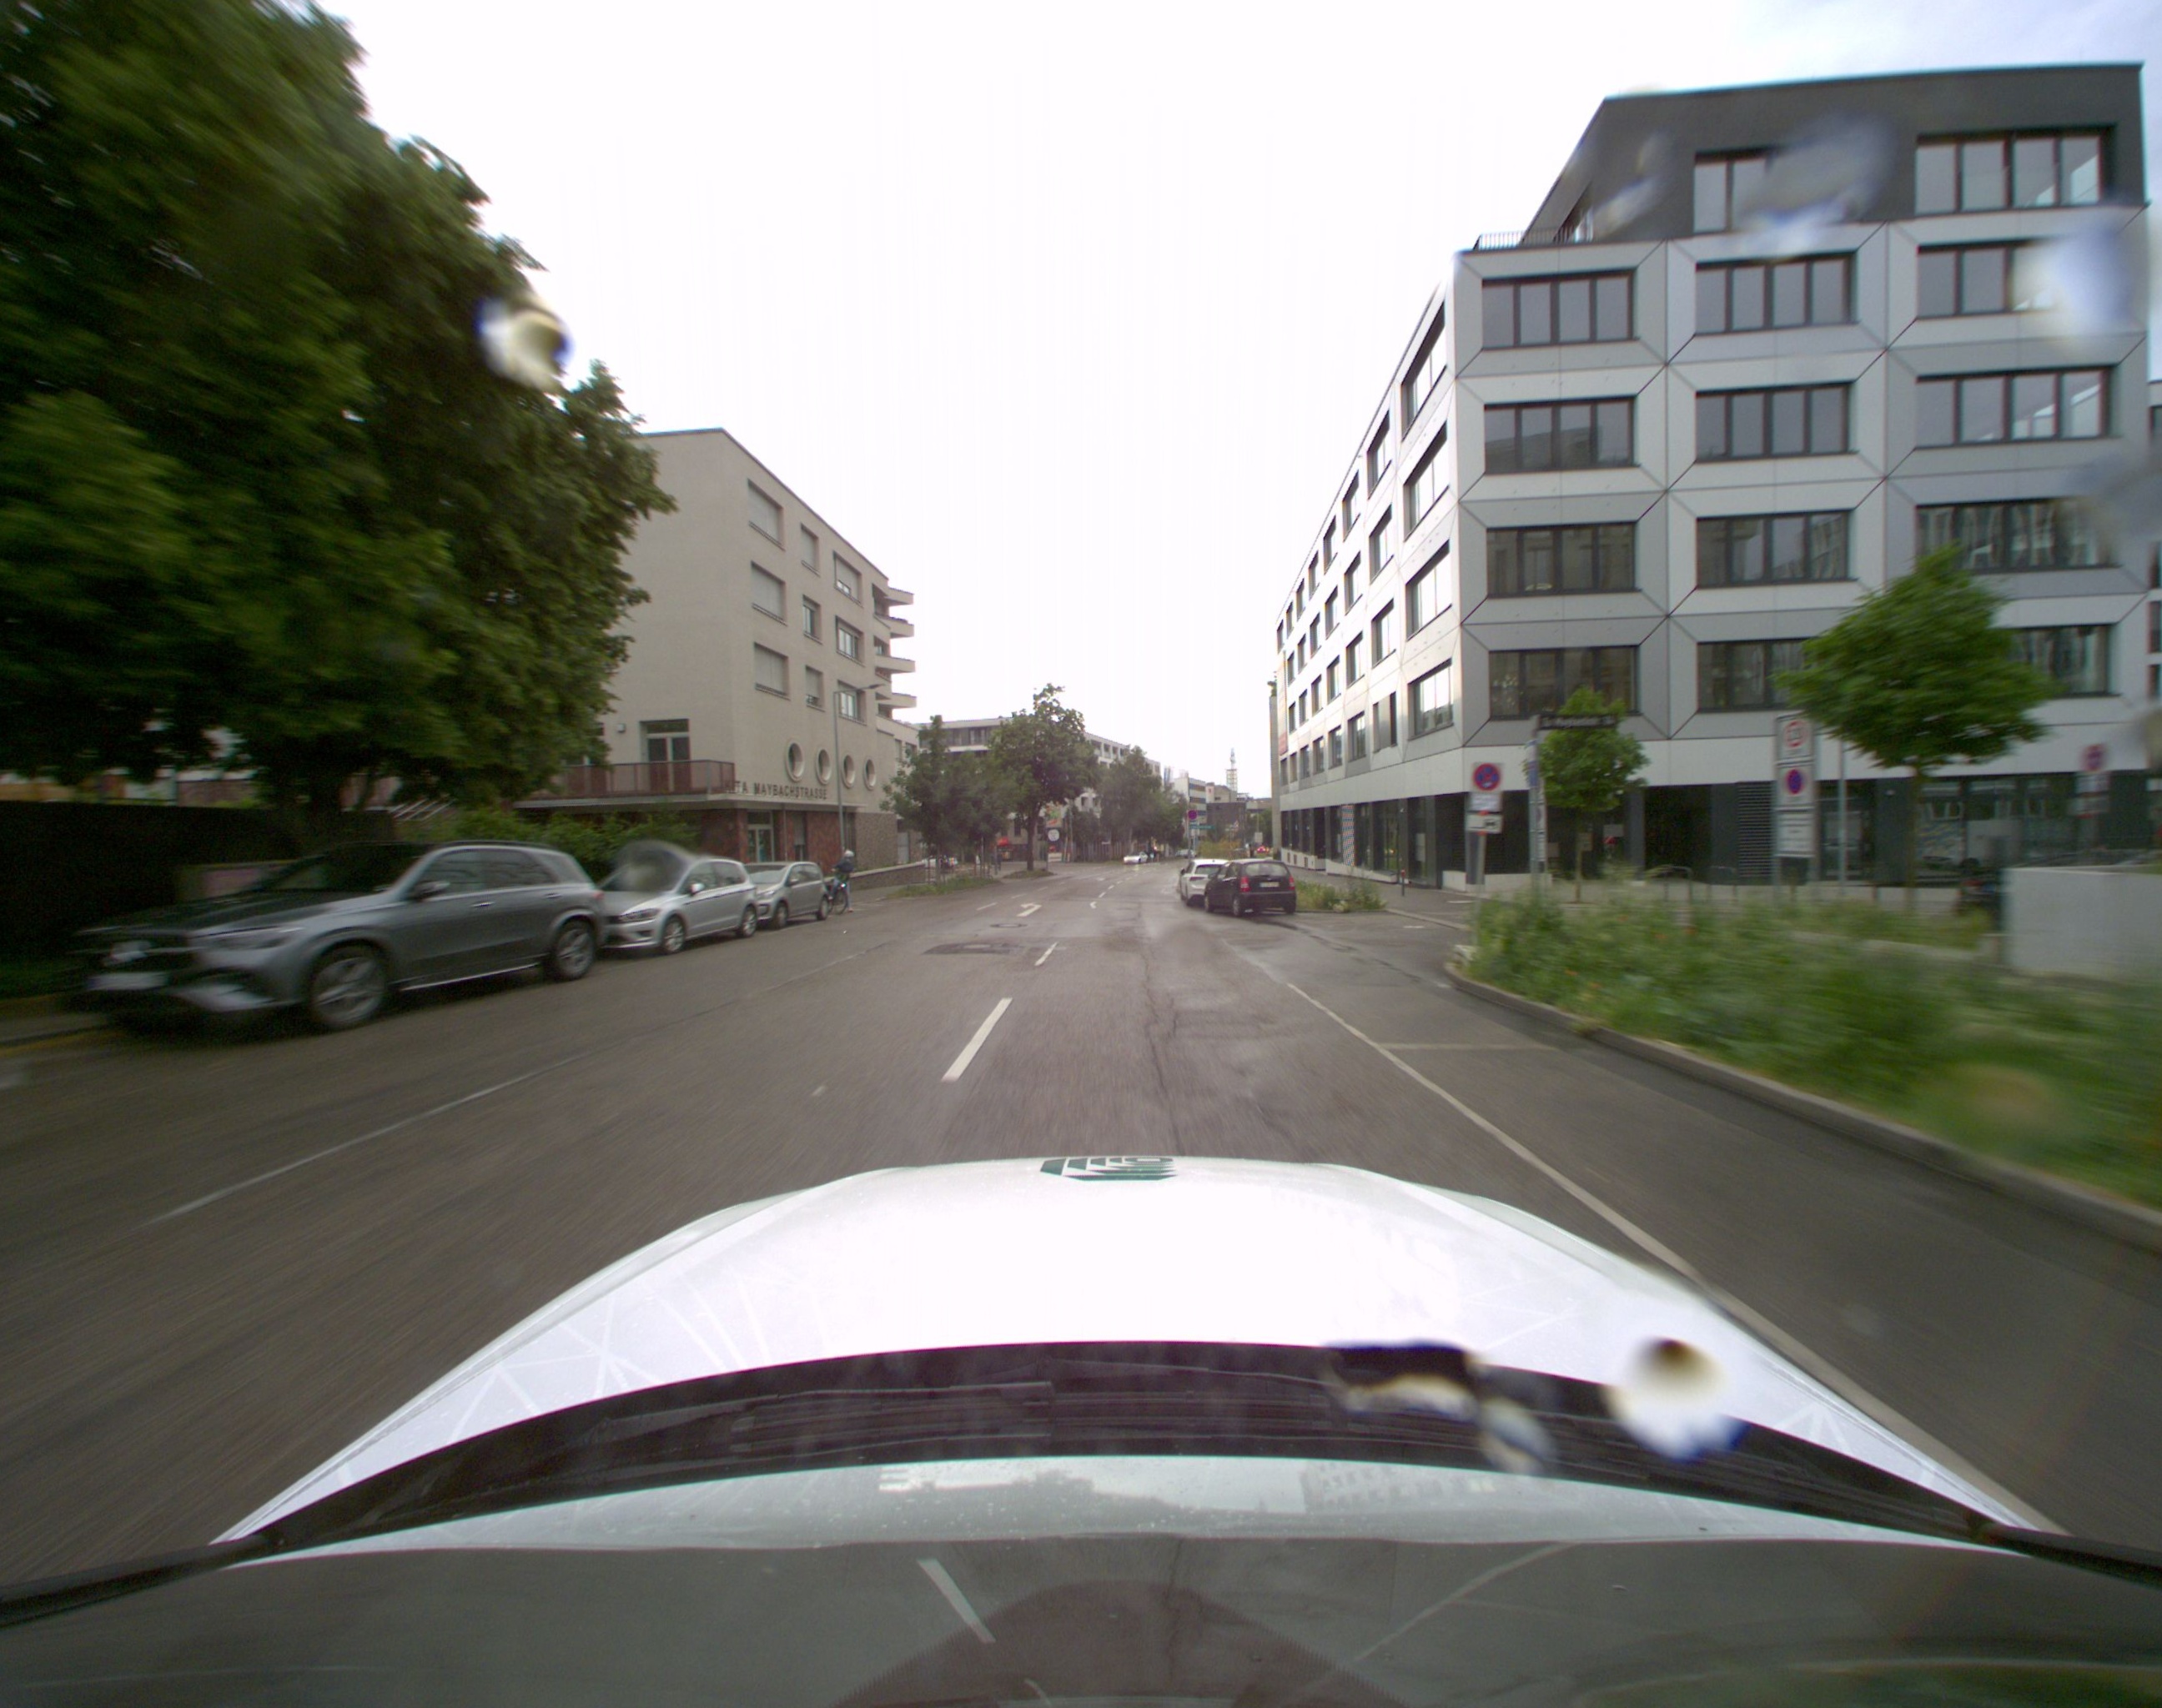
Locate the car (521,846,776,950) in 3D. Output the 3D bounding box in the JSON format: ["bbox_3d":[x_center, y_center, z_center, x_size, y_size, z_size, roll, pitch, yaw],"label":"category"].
[{"bbox_3d":[-7.440,0.683,14.671,1.981,1.593,4.493,0,0,3],"label":"car"}]

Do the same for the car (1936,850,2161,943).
[{"bbox_3d":[15.429,0.579,11.798,4.213,1.245,1.730,0,0,2],"label":"car"}]

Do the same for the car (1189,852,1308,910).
[{"bbox_3d":[4.529,0.671,22.676,2.043,1.458,4.044,0,0,-8],"label":"car"}]

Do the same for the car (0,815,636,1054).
[{"bbox_3d":[-7.472,0.623,8.849,1.984,1.786,5.416,0,0,4],"label":"car"}]

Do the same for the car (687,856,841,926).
[{"bbox_3d":[-7.215,0.784,18.993,1.871,1.463,3.851,0,0,4],"label":"car"}]

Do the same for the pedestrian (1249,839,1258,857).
[{"bbox_3d":[17.332,-0.557,81.865,0.817,1.796,1.212,-1,-1,11],"label":"pedestrian"}]

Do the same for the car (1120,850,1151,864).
[{"bbox_3d":[6.486,0.342,96.695,2.038,1.661,4.849,-1,0,25],"label":"car"}]

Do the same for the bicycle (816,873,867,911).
[{"bbox_3d":[-6.641,1.036,22.692,0.799,0.979,2.253,0,0,-1],"label":"bicycle"}]

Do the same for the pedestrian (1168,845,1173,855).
[{"bbox_3d":[16.220,-0.736,147.643,0.703,1.683,0.960,-1,0,13],"label":"pedestrian"}]

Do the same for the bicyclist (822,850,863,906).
[{"bbox_3d":[-6.659,0.669,22.798,0.799,1.523,1.201,0,-1,-2],"label":"bicyclist"}]

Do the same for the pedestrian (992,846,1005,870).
[{"bbox_3d":[-7.180,0.347,70.669,1.053,2.014,1.098,0,-1,-4],"label":"pedestrian"}]

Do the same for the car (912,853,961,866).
[{"bbox_3d":[-15.163,0.564,85.721,4.662,1.292,2.004,0,0,7],"label":"car"}]

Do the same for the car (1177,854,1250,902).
[{"bbox_3d":[4.367,0.753,27.519,2.030,1.464,4.507,0,0,4],"label":"car"}]
